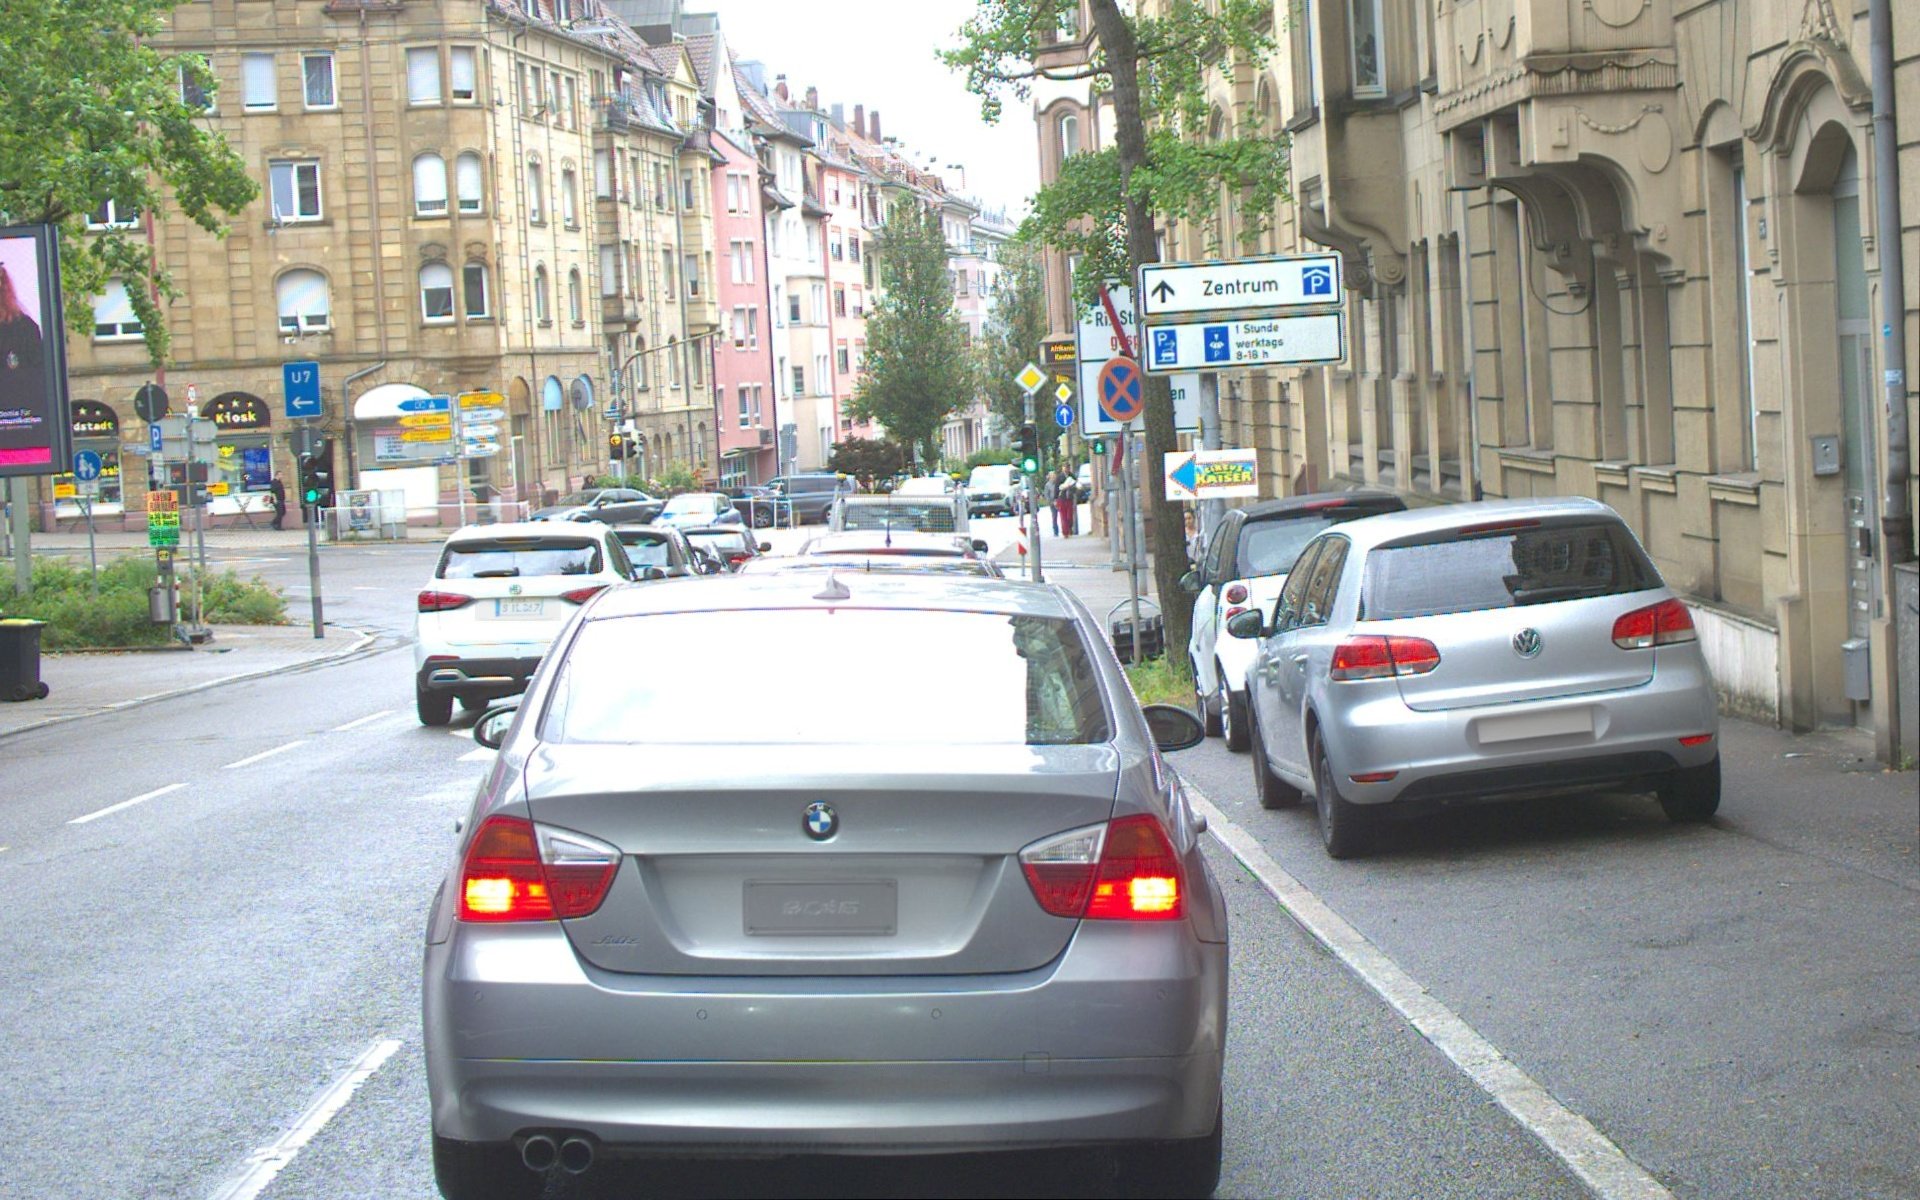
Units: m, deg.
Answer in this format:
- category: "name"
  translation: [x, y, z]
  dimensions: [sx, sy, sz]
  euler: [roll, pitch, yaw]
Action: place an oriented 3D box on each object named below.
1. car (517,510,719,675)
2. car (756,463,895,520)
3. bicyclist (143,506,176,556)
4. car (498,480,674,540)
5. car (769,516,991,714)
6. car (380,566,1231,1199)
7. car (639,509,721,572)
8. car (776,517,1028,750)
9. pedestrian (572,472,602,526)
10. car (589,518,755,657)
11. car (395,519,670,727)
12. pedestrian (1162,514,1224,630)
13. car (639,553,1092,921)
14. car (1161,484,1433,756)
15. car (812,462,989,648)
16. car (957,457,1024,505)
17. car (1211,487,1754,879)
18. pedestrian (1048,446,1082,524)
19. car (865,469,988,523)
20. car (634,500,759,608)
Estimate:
- category: "car"
  translation: [-3.703, -0.128, 37.849]
  dimensions: [1.759, 1.702, 4.000]
  euler: [-1, 1, 1]
- category: "car"
  translation: [-5.042, -4.072, 129.706]
  dimensions: [5.176, 2.007, 2.699]
  euler: [1, 0, -1]
- category: "bicyclist"
  translation: [-20.534, -1.765, 88.173]
  dimensions: [0.569, 1.268, 0.689]
  euler: [1, 0, 12]
- category: "car"
  translation: [-10.522, -2.512, 96.911]
  dimensions: [4.641, 1.573, 1.999]
  euler: [0, 1, -43]
- category: "car"
  translation: [-0.728, 0.069, 29.562]
  dimensions: [1.759, 1.562, 4.001]
  euler: [-1, 1, -3]
- category: "car"
  translation: [-0.279, 0.646, 8.430]
  dimensions: [1.623, 1.378, 3.615]
  euler: [-1, 1, 1]
- category: "car"
  translation: [-6.808, -1.467, 83.910]
  dimensions: [1.715, 1.445, 3.743]
  euler: [-2, 1, -1]
- category: "car"
  translation: [-0.353, 0.164, 23.926]
  dimensions: [1.595, 1.459, 4.000]
  euler: [1, 1, 1]
- category: "pedestrian"
  translation: [-10.961, -2.961, 101.054]
  dimensions: [0.732, 1.572, 0.528]
  euler: [-2, 1, 8]
- category: "car"
  translation: [-3.709, -0.198, 44.822]
  dimensions: [1.759, 1.702, 4.000]
  euler: [-1, 1, 1]
- category: "car"
  translation: [-3.550, 0.137, 29.188]
  dimensions: [1.868, 1.620, 4.000]
  euler: [-1, 1, -1]
- category: "pedestrian"
  translation: [3.154, -0.386, 46.582]
  dimensions: [0.631, 1.503, 0.693]
  euler: [-6, 1, -1]
- category: "car"
  translation: [-0.352, 0.511, 15.513]
  dimensions: [1.759, 1.378, 4.000]
  euler: [-1, 1, 1]
- category: "car"
  translation: [2.159, 0.091, 22.610]
  dimensions: [1.299, 1.537, 2.976]
  euler: [-6, 1, -1]
- category: "car"
  translation: [-0.697, -0.546, 40.965]
  dimensions: [1.993, 2.099, 4.000]
  euler: [0, 1, -1]
- category: "car"
  translation: [1.074, -4.143, 120.087]
  dimensions: [1.994, 1.573, 3.999]
  euler: [1, 1, 5]
- category: "car"
  translation: [2.319, 0.297, 16.278]
  dimensions: [1.759, 1.446, 4.000]
  euler: [-6, 1, -1]
- category: "pedestrian"
  translation: [2.603, -2.845, 85.040]
  dimensions: [0.742, 1.903, 0.659]
  euler: [-2, 1, -1]
- category: "car"
  translation: [-1.019, -3.218, 106.857]
  dimensions: [1.997, 1.573, 3.993]
  euler: [1, 1, 32]
- category: "car"
  translation: [-4.325, -0.779, 56.882]
  dimensions: [1.759, 1.702, 4.000]
  euler: [-1, 1, 0]
